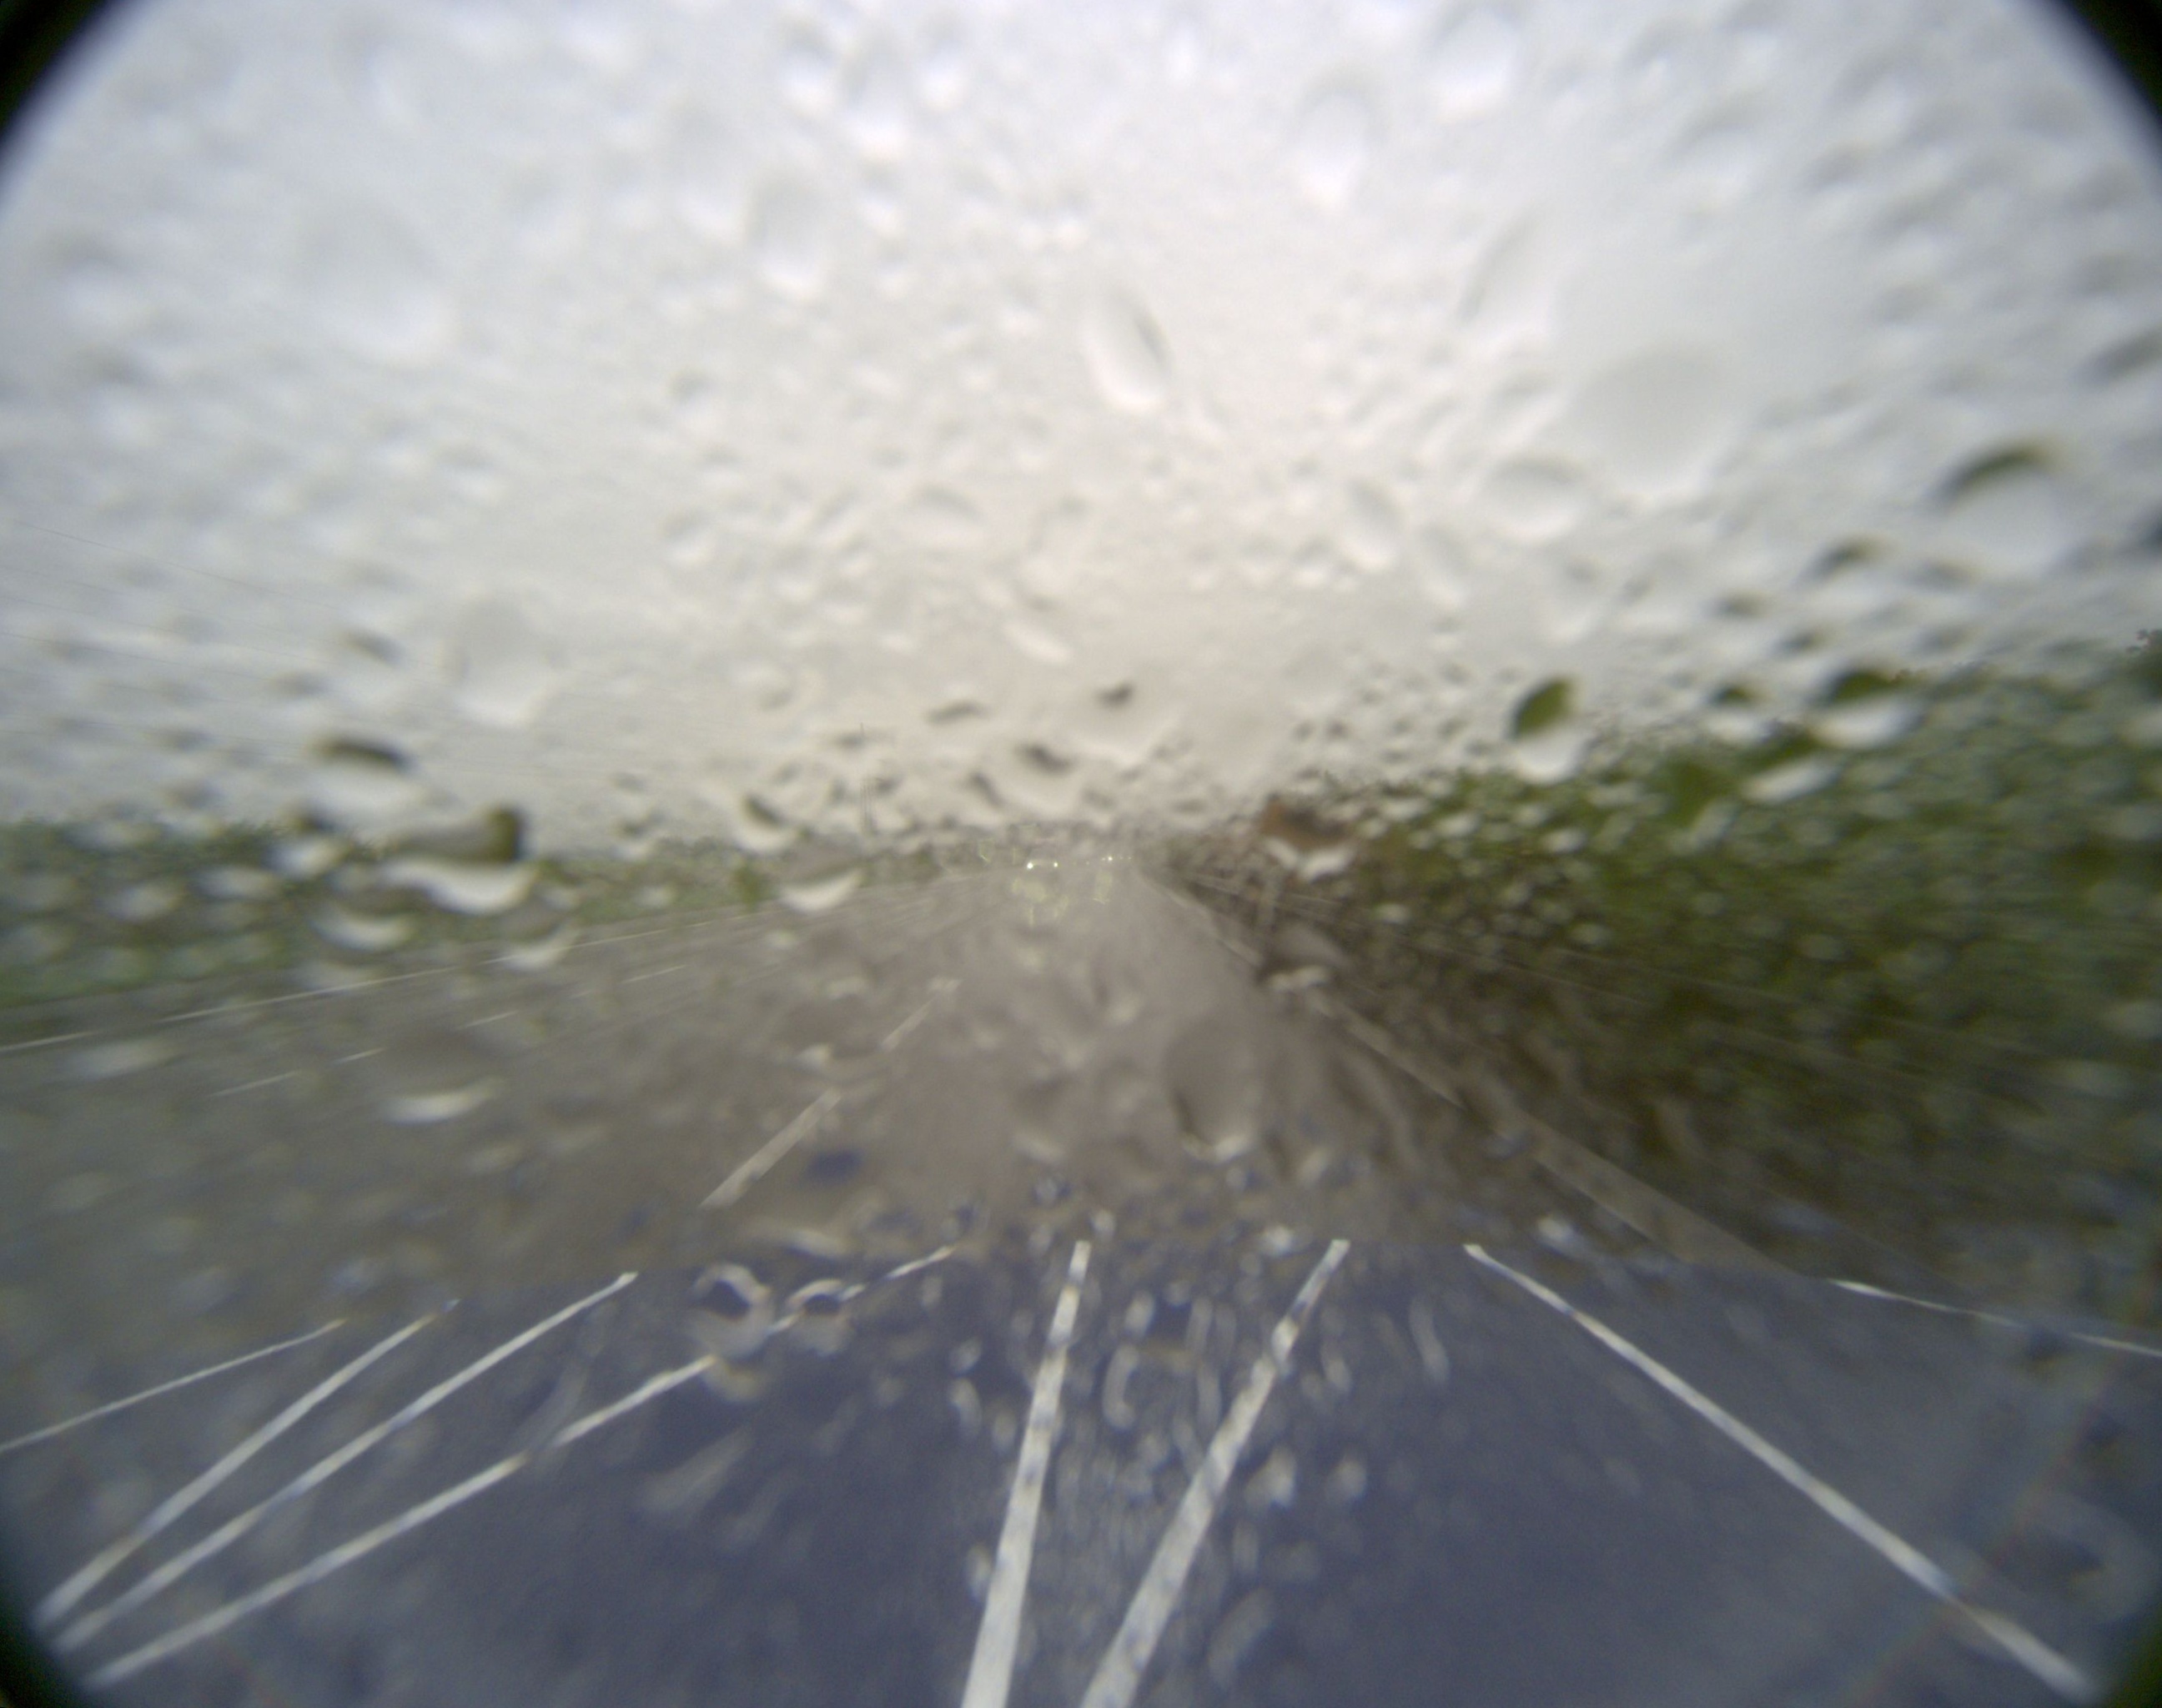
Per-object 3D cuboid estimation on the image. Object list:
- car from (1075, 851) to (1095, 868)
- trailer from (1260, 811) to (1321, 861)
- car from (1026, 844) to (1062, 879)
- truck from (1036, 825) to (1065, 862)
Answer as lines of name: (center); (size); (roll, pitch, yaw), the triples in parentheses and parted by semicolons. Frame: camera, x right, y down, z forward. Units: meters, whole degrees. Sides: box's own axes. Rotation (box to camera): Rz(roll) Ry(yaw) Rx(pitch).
car: (0.561, 0.715, 97.947); (1.997, 2.002, 4.002); (-2, 1, 7)
trailer: (19.479, -1.596, 71.590); (2.524, 4.196, 12.943); (-2, 1, 2)
car: (-2.281, 0.445, 48.189); (1.999, 2.002, 3.999); (-3, 0, 0)
truck: (-4.036, -1.385, 102.921); (3.136, 4.642, 11.403); (-2, 1, 1)
